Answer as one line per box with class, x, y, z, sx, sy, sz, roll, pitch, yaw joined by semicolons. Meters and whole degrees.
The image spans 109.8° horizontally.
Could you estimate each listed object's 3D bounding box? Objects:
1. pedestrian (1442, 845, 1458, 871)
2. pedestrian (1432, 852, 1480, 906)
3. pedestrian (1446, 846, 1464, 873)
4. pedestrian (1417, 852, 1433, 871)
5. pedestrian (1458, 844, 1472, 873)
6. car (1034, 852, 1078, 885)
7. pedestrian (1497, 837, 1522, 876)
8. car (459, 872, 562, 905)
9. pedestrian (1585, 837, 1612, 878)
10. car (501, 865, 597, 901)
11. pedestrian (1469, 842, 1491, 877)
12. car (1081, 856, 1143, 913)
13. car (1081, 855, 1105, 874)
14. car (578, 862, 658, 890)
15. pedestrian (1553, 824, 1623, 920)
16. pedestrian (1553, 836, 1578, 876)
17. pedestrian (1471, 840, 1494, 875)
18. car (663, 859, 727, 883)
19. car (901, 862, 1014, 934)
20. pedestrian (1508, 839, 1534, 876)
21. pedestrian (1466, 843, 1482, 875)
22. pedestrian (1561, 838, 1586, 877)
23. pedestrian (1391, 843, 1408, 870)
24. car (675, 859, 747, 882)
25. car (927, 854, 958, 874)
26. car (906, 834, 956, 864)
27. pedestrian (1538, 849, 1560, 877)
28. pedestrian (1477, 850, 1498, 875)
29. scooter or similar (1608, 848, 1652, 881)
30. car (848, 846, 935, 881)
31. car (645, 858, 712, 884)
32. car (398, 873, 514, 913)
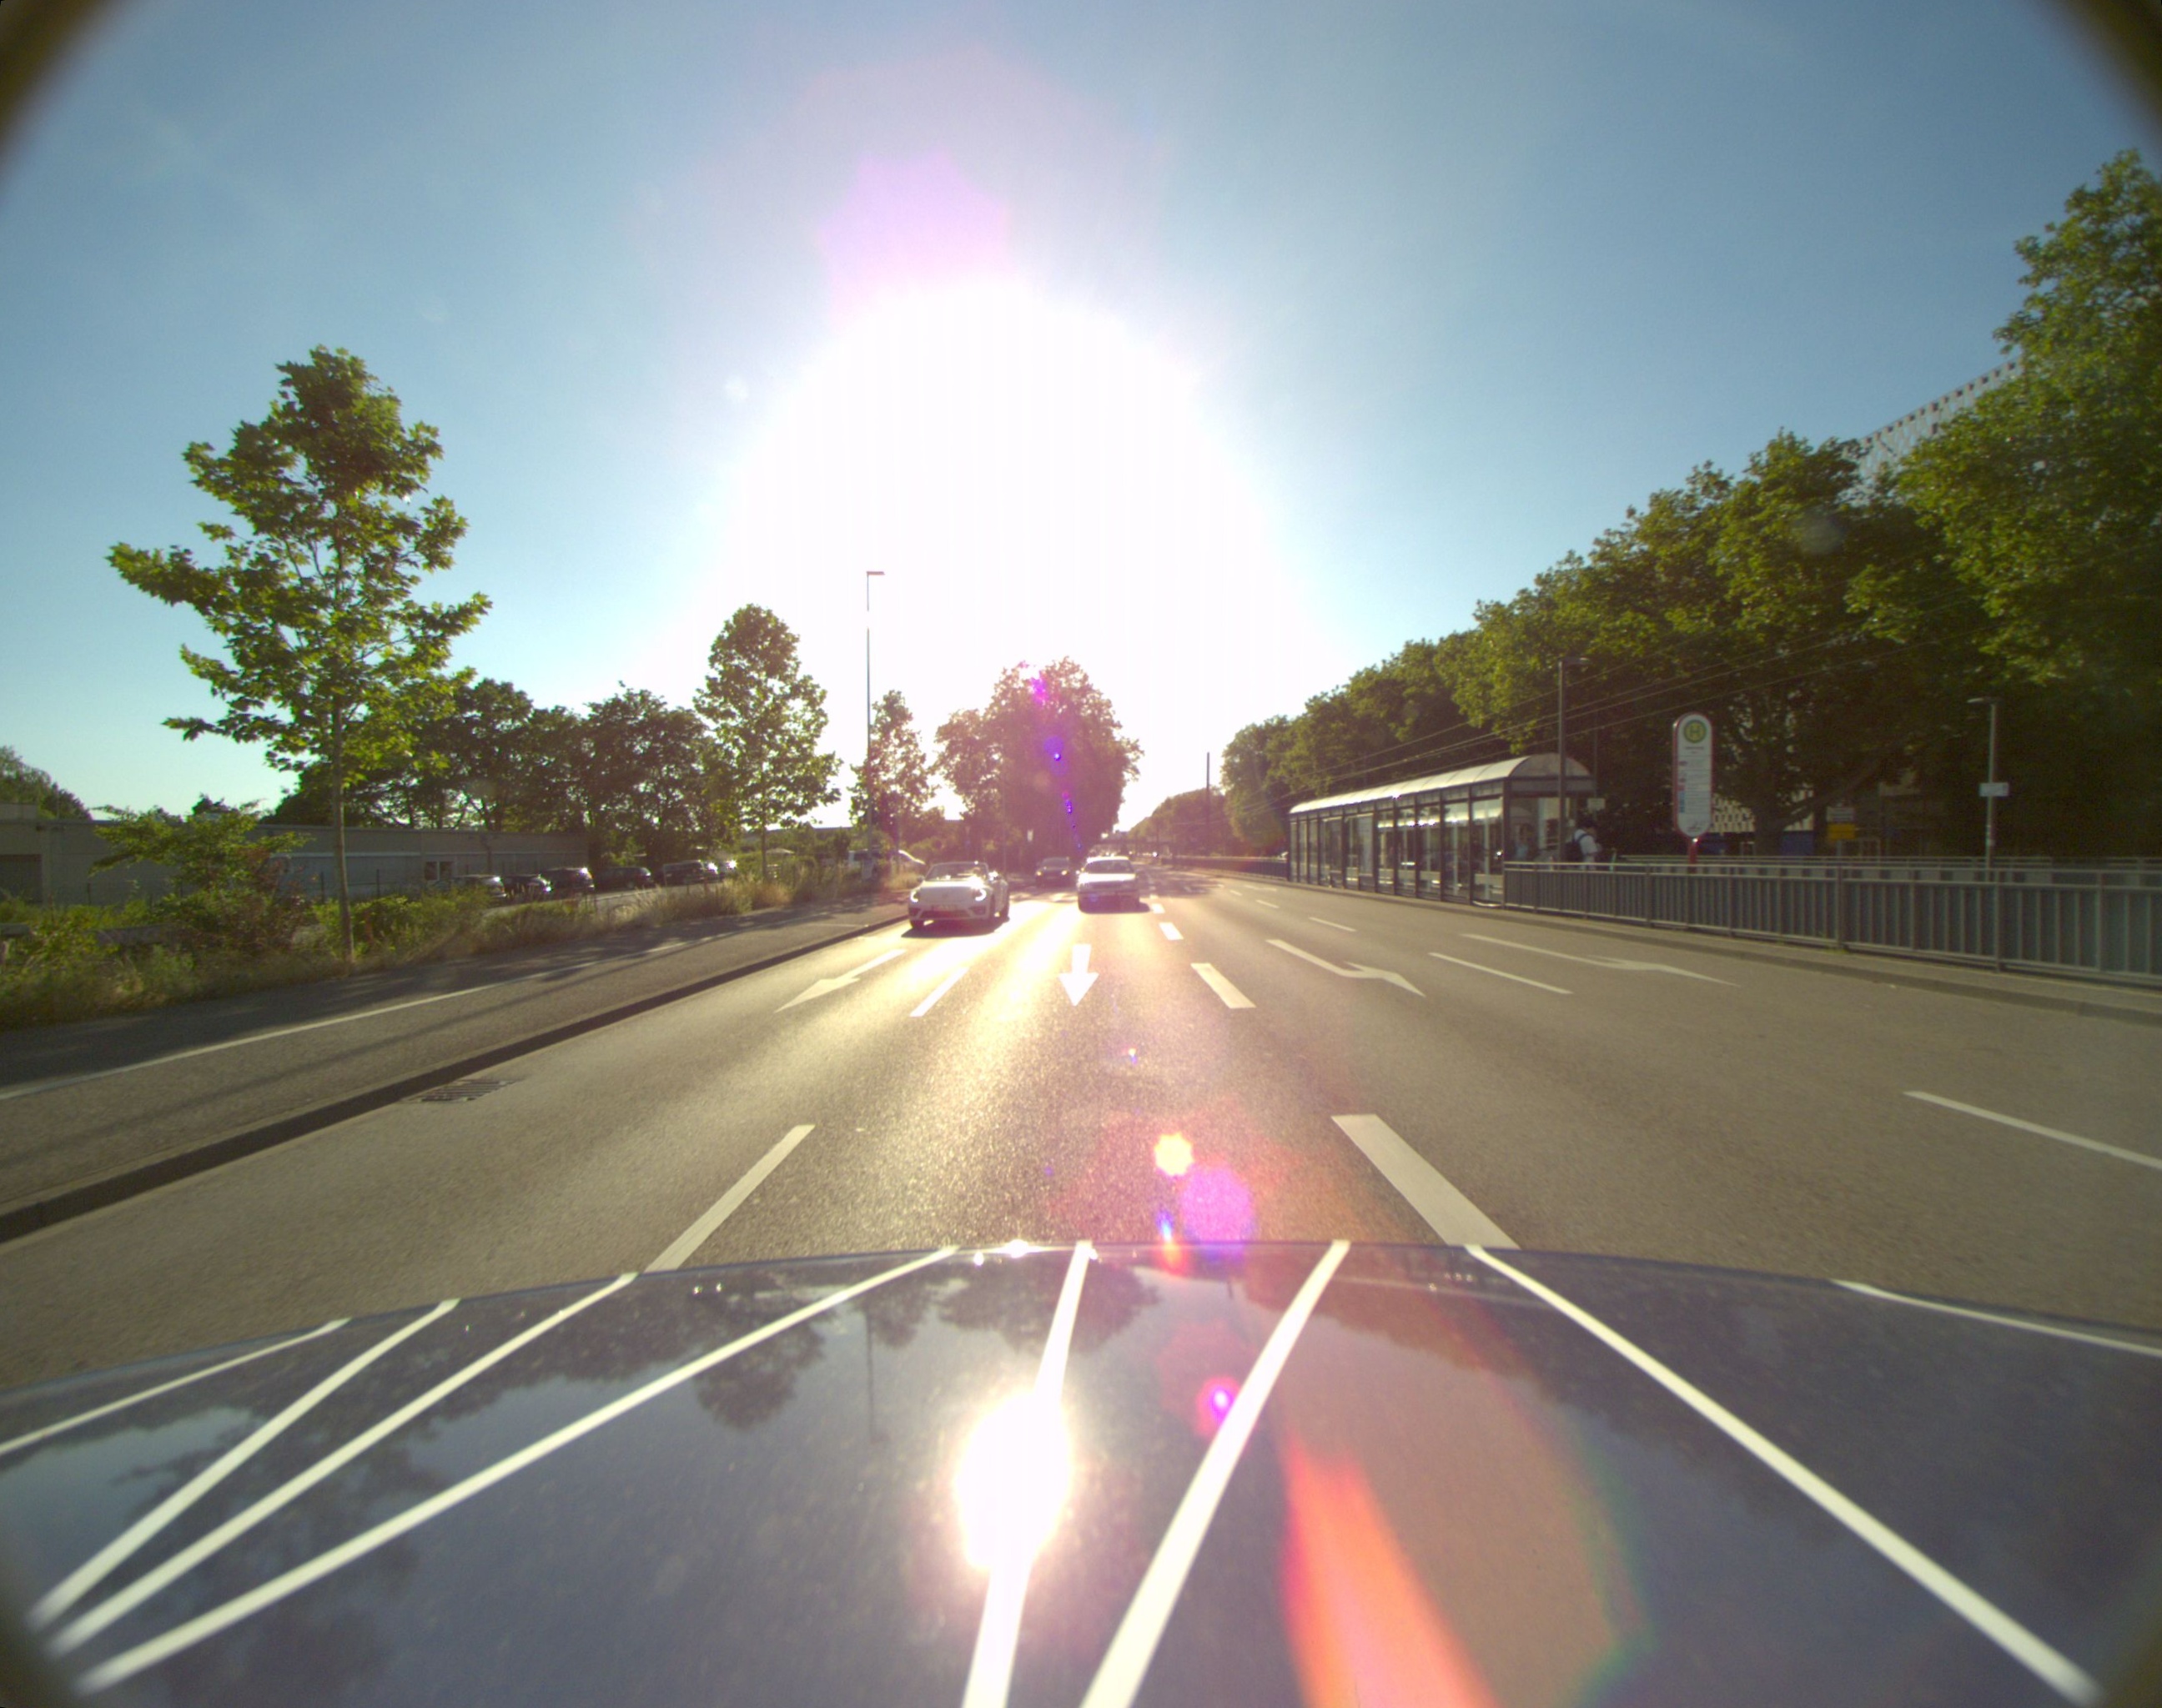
pedestrian;20.855;0.247;42.954;0.616;1.459;0.544;-1;1;-7
pedestrian;8.934;0.584;18.138;0.682;1.224;0.878;-3;0;1
pedestrian;20.845;0.284;42.341;0.671;1.483;0.576;-1;1;-12
pedestrian;21.009;0.437;46.401;0.679;1.155;0.624;-1;1;-2
pedestrian;20.899;0.234;41.342;0.576;1.567;0.489;-1;1;9
car;-1.217;0.704;38.459;1.740;1.502;4.001;-2;0;4
pedestrian;20.494;0.125;36.329;0.734;1.810;0.687;-3;0;-7
car;-28.988;1.725;38.711;3.793;1.389;1.738;-2;3;-4
pedestrian;21.078;0.147;30.969;0.603;1.610;0.691;-2;1;4
car;-28.887;1.550;41.347;3.919;1.657;1.706;-3;2;-2
pedestrian;19.420;0.261;37.002;0.661;1.623;0.777;-2;1;2
car;0.881;0.831;22.211;1.602;1.440;3.799;-2;0;2
car;1.048;0.813;62.938;1.871;1.422;3.831;-3;0;2
car;-29.879;1.383;49.121;4.031;1.577;1.685;-3;0;-3
pedestrian;9.328;0.321;14.002;0.695;1.706;0.822;-2;1;-4
pedestrian;21.016;0.088;32.971;0.652;1.709;0.635;-2;1;4
pedestrian;19.937;0.168;37.739;0.654;1.732;0.685;-3;0;-2
car;-28.783;1.240;56.717;3.838;1.577;1.723;-3;0;0
car;-2.765;0.941;17.877;1.856;1.415;3.980;-1;0;2
pedestrian;20.620;0.172;35.598;0.734;1.682;0.686;-3;0;-9
pedestrian;20.441;0.245;39.542;0.576;1.626;0.644;-1;1;9
pedestrian;21.001;0.143;32.413;0.652;1.610;0.635;-2;1;4
pedestrian;20.392;0.162;48.668;0.763;1.700;0.678;-1;1;2
car;-29.021;1.305;59.654;4.661;1.560;1.858;-3;0;-2
car;-11.613;0.806;64.033;1.999;1.637;4.155;-1;0;-2
car;-13.763;-0.428;70.140;2.939;2.606;5.924;-1;0;4
pedestrian;20.781;0.379;33.757;0.603;1.217;0.617;-2;1;4
pedestrian;20.756;0.425;38.781;0.654;1.245;0.685;-3;0;-2
scooter or similar;20.876;0.393;28.906;0.666;1.227;1.372;-1;0;0
car;-12.787;0.633;51.548;5.350;2.010;2.103;-3;0;-1
car;-28.749;1.219;54.341;3.874;1.631;1.664;-3;0;0
car;-29.111;1.796;35.485;3.793;1.548;1.727;-2;3;-3
